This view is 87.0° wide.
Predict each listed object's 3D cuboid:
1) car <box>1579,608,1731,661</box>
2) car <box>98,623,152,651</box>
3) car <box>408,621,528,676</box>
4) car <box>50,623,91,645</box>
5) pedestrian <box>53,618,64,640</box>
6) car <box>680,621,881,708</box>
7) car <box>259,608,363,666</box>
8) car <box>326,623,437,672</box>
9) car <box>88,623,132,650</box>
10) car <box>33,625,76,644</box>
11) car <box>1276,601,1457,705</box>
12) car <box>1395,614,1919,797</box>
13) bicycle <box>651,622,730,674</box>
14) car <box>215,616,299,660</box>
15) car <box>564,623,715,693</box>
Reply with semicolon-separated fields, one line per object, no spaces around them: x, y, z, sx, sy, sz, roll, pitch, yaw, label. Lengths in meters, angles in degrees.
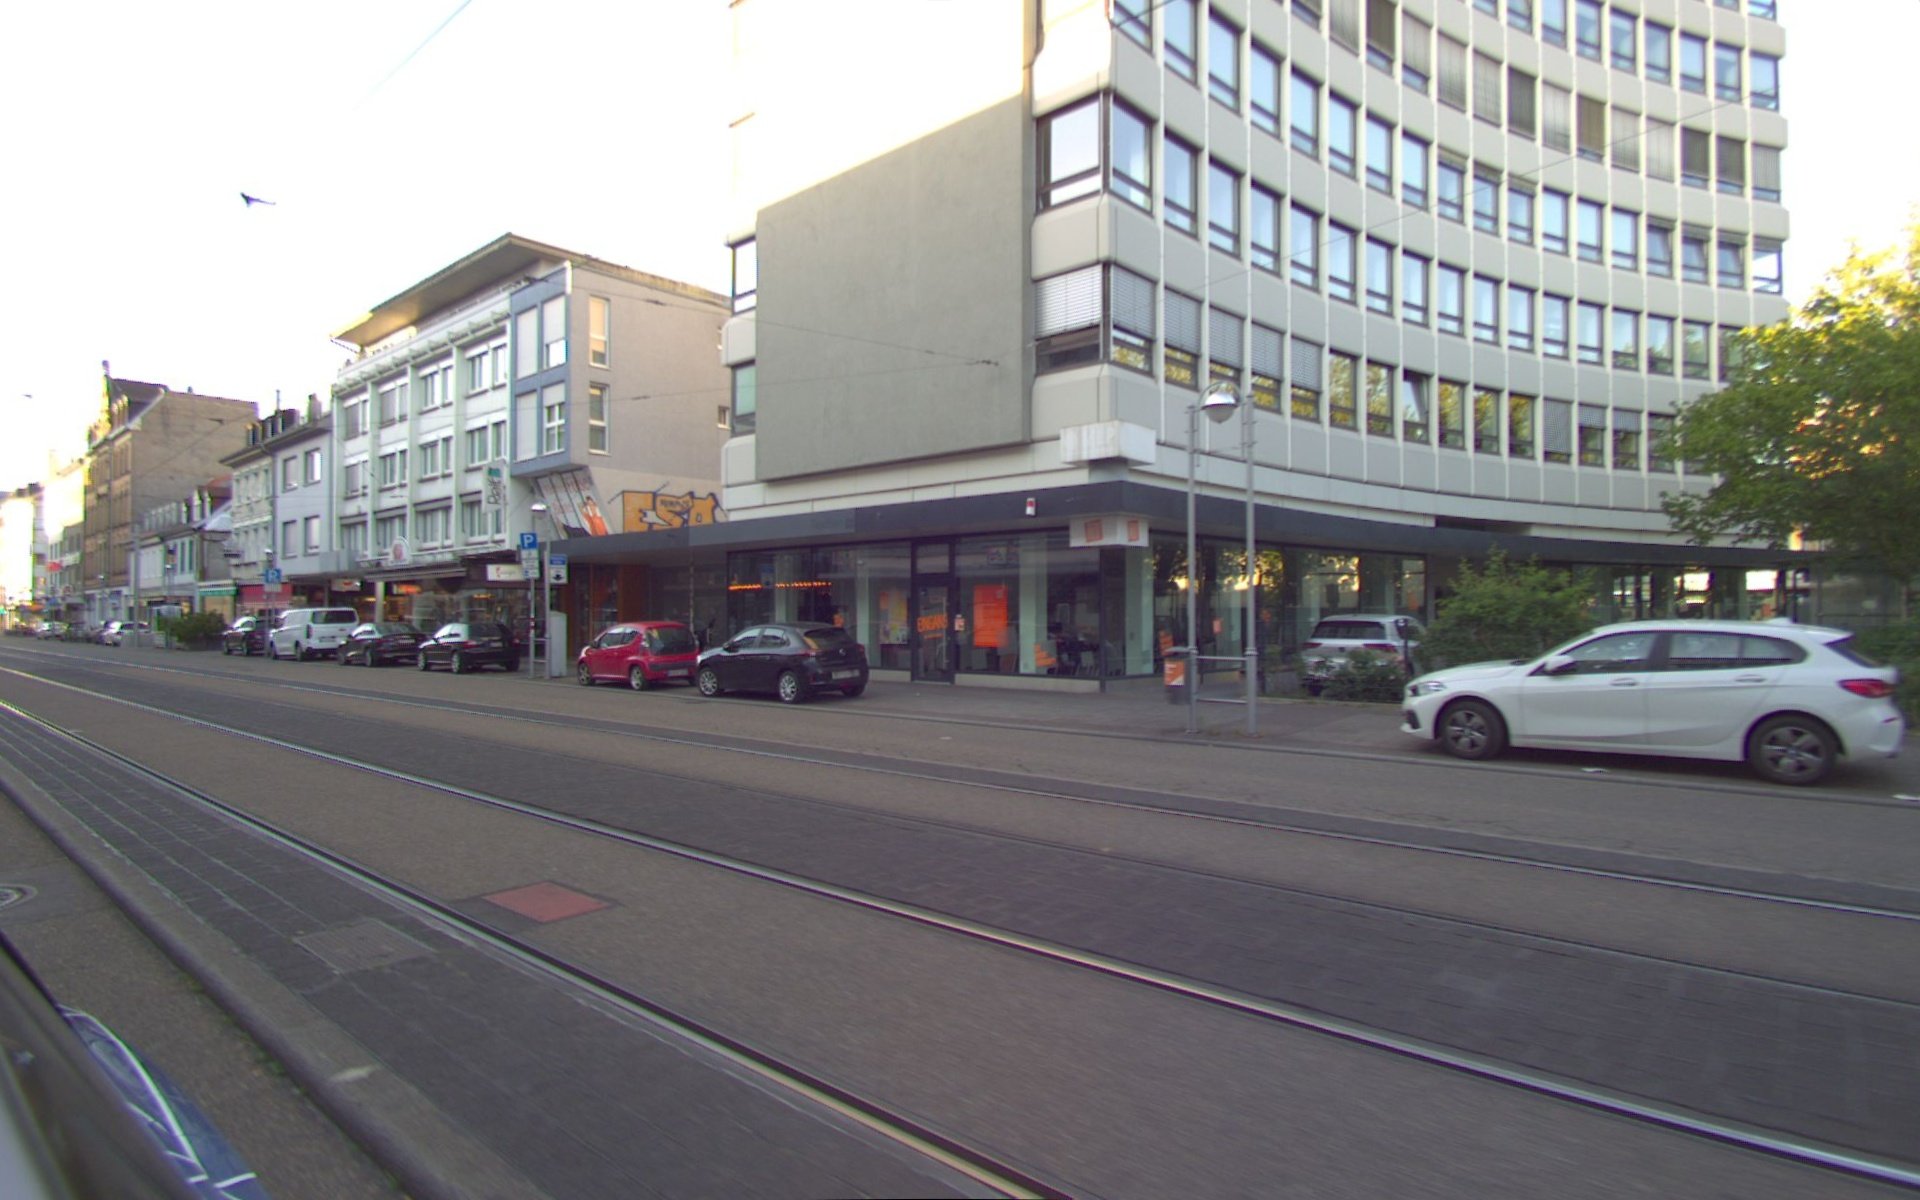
20.990;1.009;30.579;3.931;1.410;1.748;-1;0;-18;car
-50.901;2.214;61.659;4.621;1.568;1.871;-1;1;42;car
-14.326;1.364;29.369;4.090;1.472;1.771;-1;-2;43;car
-66.346;2.527;75.467;3.815;1.504;1.822;-1;1;42;car
-85.158;2.710;95.606;0.737;2.029;1.050;-1;1;-44;pedestrian
-3.523;1.175;19.468;3.963;1.436;1.674;-2;0;42;car
-24.899;1.371;38.758;5.096;2.029;1.944;-1;1;41;car
-19.353;1.519;33.797;4.569;1.437;1.852;-1;1;42;car
-54.405;2.332;64.762;3.469;1.582;1.638;-1;1;41;car
-74.944;2.872;83.748;4.399;1.431;1.974;-1;1;39;car
7.332;0.844;18.063;1.912;1.564;3.948;-1;1;39;car
6.961;0.924;10.377;4.281;1.464;1.703;-1;0;41;car
-7.607;1.339;28.638;0.875;1.350;2.025;-1;1;41;bicycle
-30.592;1.602;43.994;4.587;1.710;1.973;-1;1;42;car
-7.293;1.257;22.882;3.591;1.445;1.674;-1;-1;41;car
